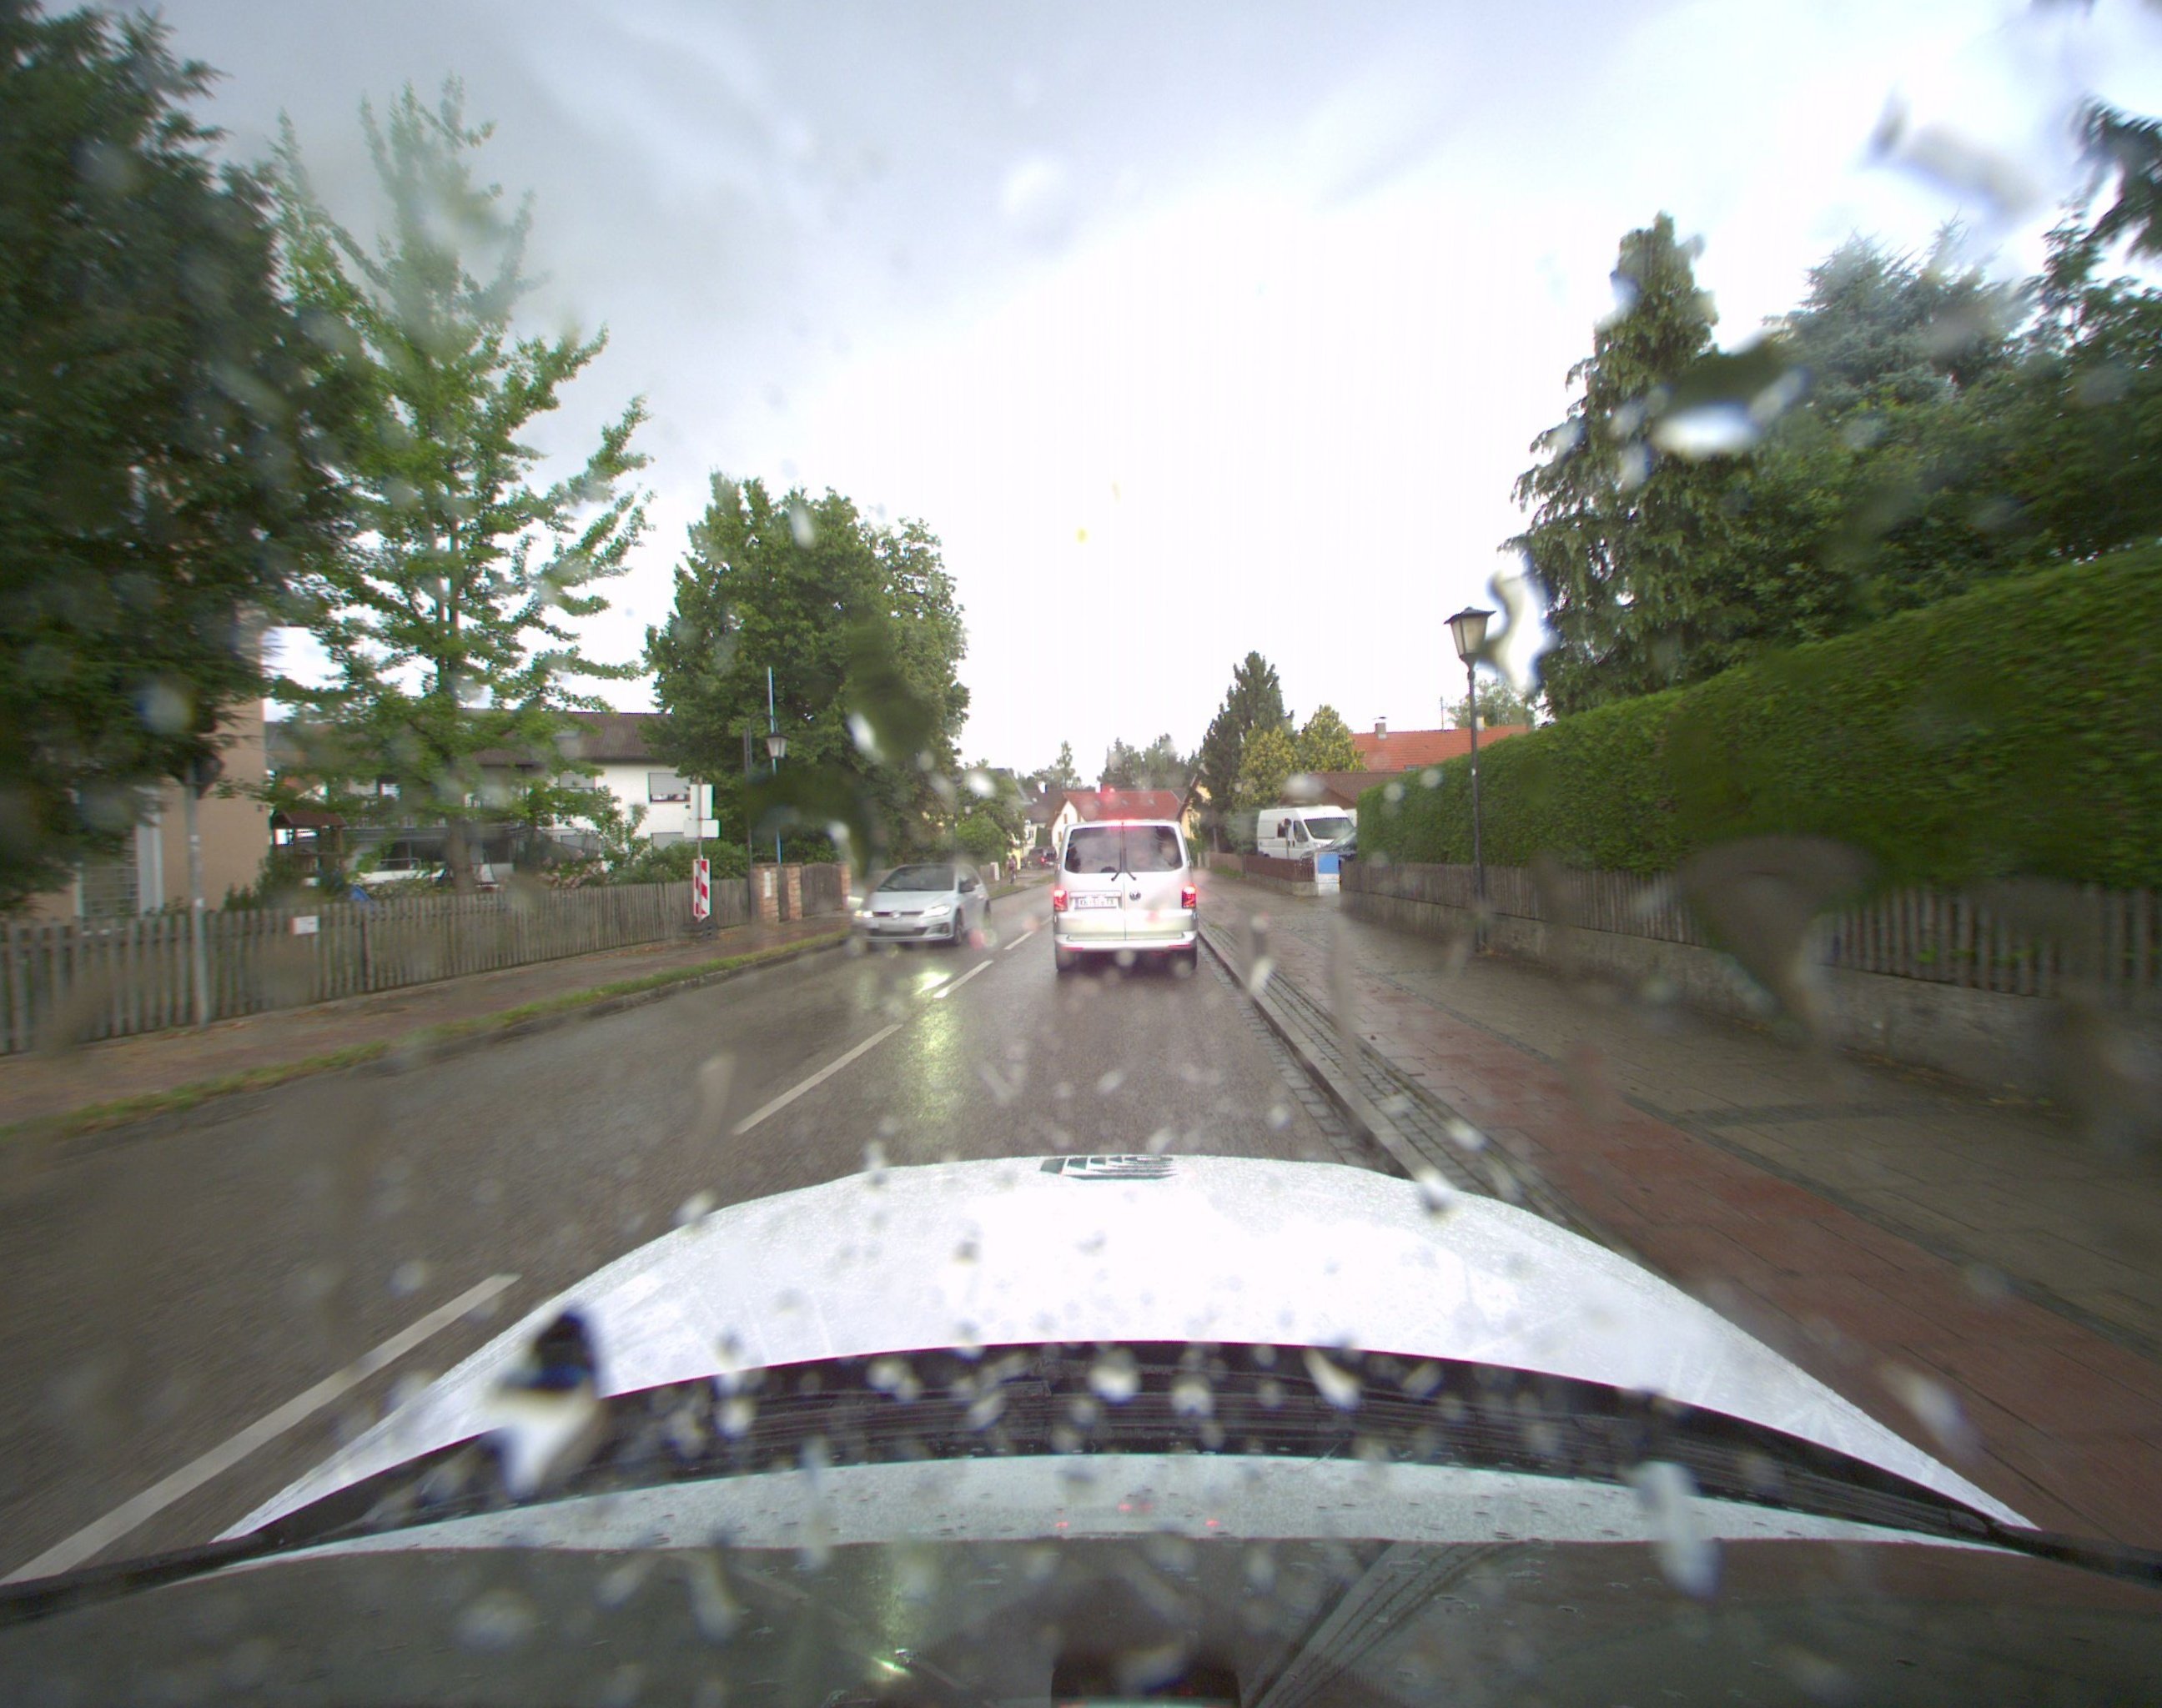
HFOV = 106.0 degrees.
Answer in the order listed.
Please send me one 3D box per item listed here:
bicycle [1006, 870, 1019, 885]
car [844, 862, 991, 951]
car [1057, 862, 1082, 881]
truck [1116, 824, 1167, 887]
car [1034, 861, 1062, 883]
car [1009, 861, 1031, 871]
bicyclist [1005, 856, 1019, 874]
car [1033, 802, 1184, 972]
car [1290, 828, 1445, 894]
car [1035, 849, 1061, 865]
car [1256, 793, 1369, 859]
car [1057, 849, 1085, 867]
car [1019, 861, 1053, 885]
[{"bbox_3d":[-3.922,1.334,46.713,0.454,0.798,1.978,-1,0,3],"label":"bicycle"},{"bbox_3d":[-2.884,0.883,15.221,1.709,1.442,4.003,-1,-1,3],"label":"car"},{"bbox_3d":[-1.110,1.608,75.299,1.826,1.558,4.166,-2,-1,-7],"label":"car"},{"bbox_3d":[3.130,0.104,43.167,2.465,3.074,6.300,-1,-1,3],"label":"truck"},{"bbox_3d":[-2.255,1.239,56.170,1.611,1.444,3.672,-1,-1,2],"label":"car"},{"bbox_3d":[-8.171,1.573,109.656,1.788,1.310,3.745,0,-1,-24],"label":"car"},{"bbox_3d":[-3.955,0.632,46.735,0.585,1.021,1.061,-1,0,3],"label":"bicyclist"},{"bbox_3d":[0.522,0.421,11.723,1.792,2.014,4.006,-1,-1,6],"label":"car"},{"bbox_3d":[8.616,0.178,24.682,4.081,1.751,1.694,-3,2,-1],"label":"car"},{"bbox_3d":[-4.020,0.389,99.050,2.000,1.927,3.973,0,-1,-20],"label":"car"},{"bbox_3d":[8.307,-0.928,29.770,1.994,2.173,4.935,0,-1,-10],"label":"car"},{"bbox_3d":[-1.128,0.444,90.754,1.999,2.014,3.975,0,-1,-18],"label":"car"},{"bbox_3d":[-2.803,1.186,51.585,1.610,1.444,3.675,-1,-1,5],"label":"car"}]
